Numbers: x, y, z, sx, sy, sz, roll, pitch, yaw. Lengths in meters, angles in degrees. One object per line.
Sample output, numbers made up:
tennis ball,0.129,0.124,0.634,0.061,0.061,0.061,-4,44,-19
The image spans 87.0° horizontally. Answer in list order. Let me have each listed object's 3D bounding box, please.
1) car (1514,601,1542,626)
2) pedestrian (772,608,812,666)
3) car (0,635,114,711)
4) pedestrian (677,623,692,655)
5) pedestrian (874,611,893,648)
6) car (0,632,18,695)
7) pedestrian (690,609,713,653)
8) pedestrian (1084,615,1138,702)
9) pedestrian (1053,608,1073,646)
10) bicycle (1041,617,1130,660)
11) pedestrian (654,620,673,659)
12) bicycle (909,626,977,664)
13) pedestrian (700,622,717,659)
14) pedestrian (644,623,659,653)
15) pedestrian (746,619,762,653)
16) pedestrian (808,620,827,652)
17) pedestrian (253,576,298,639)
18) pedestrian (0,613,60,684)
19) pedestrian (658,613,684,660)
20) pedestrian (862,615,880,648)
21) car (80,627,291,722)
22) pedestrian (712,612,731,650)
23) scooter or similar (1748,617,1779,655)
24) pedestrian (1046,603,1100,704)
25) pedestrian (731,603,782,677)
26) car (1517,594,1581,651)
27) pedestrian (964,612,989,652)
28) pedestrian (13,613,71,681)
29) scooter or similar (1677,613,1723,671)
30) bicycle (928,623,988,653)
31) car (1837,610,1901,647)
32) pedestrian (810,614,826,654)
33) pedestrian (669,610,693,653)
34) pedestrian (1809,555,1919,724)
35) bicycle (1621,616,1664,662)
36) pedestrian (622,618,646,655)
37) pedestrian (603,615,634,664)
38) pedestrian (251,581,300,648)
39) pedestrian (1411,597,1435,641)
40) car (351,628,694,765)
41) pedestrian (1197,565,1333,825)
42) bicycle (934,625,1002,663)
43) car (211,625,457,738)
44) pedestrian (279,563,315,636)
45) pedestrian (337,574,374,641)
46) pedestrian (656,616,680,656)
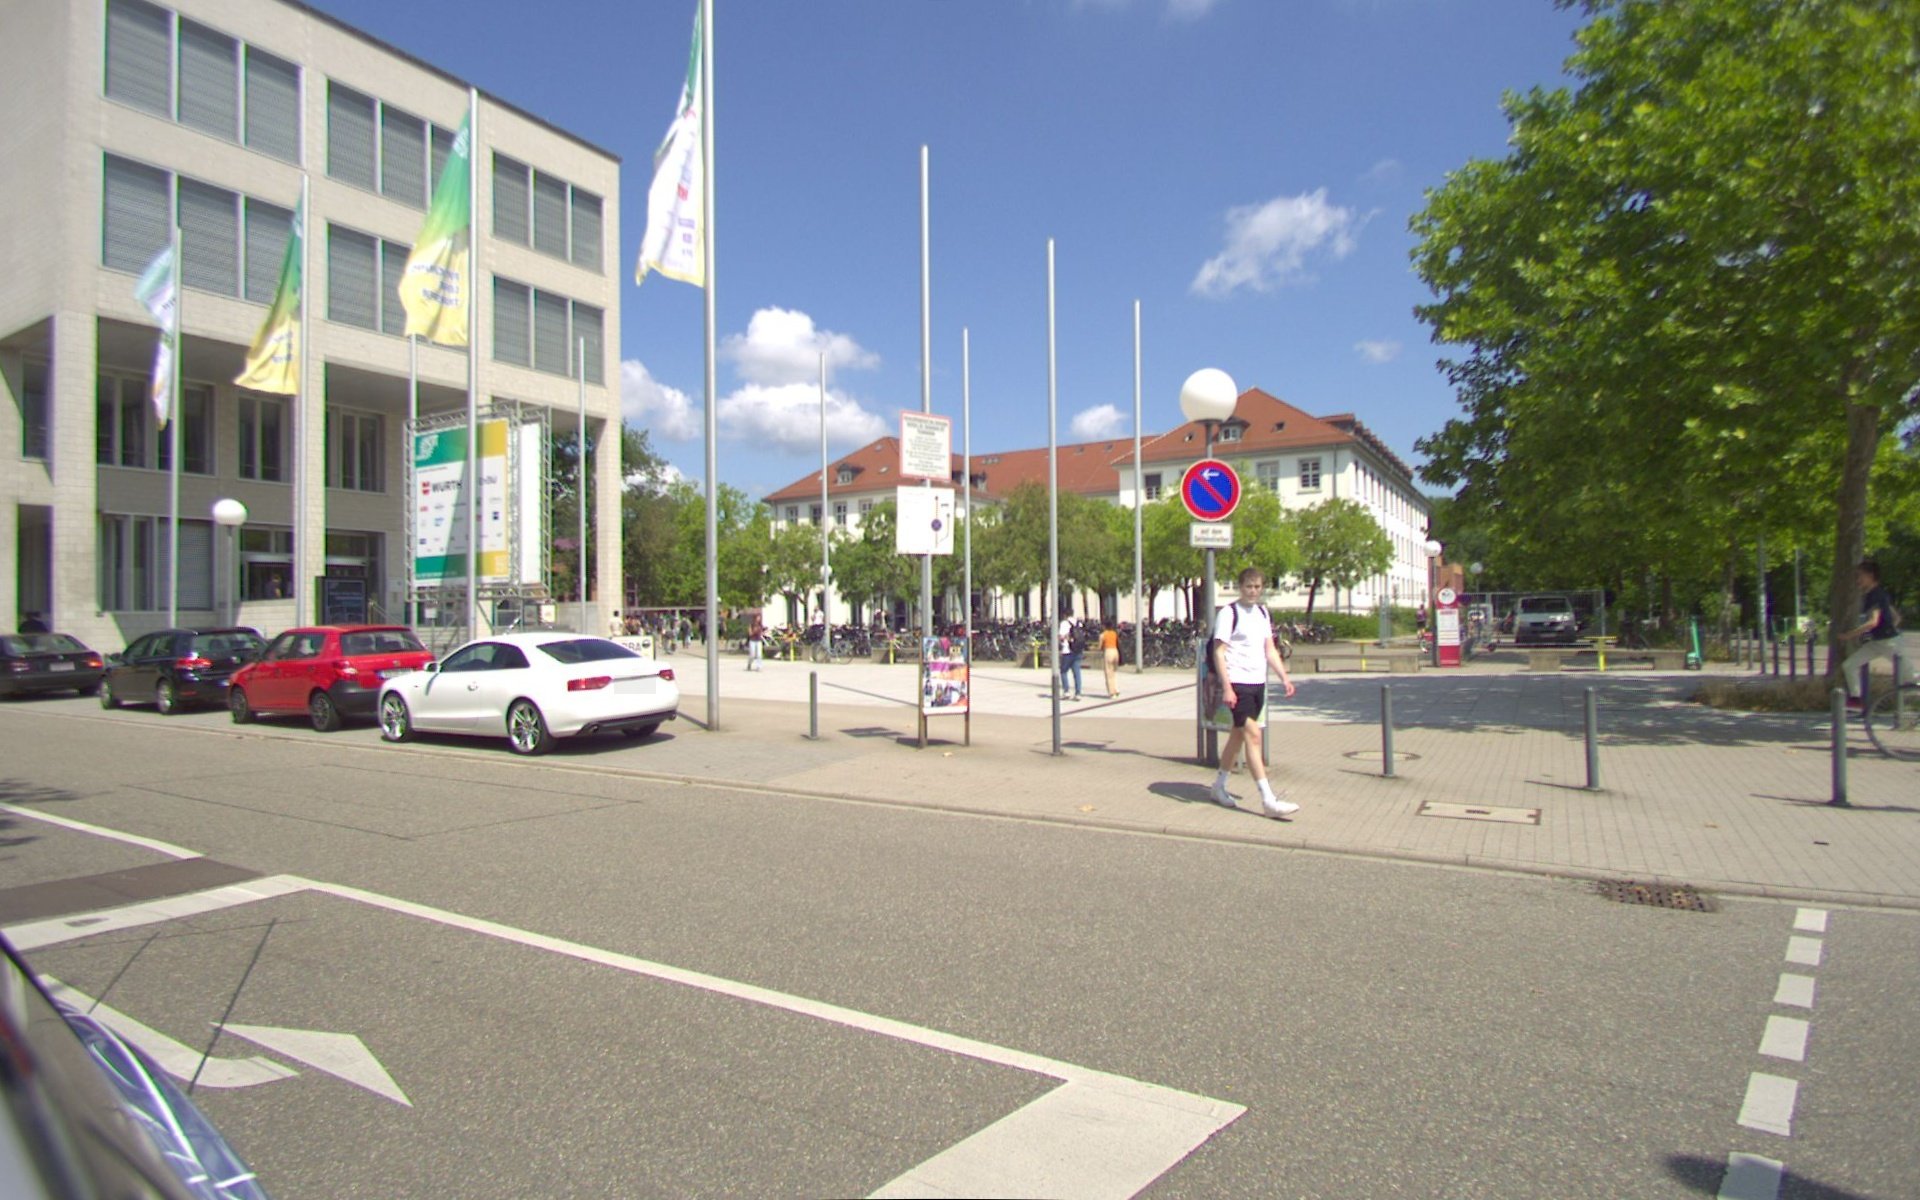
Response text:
car,45.989,1.099,81.959,1.858,1.954,4.357,-2,-2,29
pedestrian,-5.771,1.254,34.829,0.940,1.955,0.979,-2,-2,28
car,-20.365,1.514,21.825,5.001,1.388,1.845,-2,0,33
pedestrian,-16.732,2.375,61.378,0.699,1.899,0.737,-1,-1,-2
pedestrian,-4.688,1.823,62.323,0.953,2.217,0.968,-1,-2,8
car,-24.715,1.572,24.651,3.693,1.478,1.627,-2,0,31
pedestrian,-12.277,1.472,48.035,0.735,2.029,0.752,-2,-1,36
pedestrian,2.962,1.130,19.836,0.744,1.664,0.836,-2,-2,33
pedestrian,5.581,1.460,55.061,0.812,2.029,0.702,-2,-2,38
bicycle,4.348,1.324,35.289,2.948,1.422,1.051,-2,-1,40
pedestrian,-15.285,2.033,52.111,0.875,2.000,0.842,-1,-1,-19
bicycle,-0.688,1.747,39.677,1.129,1.422,2.957,0,-1,-37
pedestrian,-14.217,2.276,57.156,0.750,2.029,0.737,-1,-1,-2
pedestrian,-20.344,2.509,66.714,0.805,1.948,0.738,-1,-1,-6
pedestrian,-13.124,2.290,64.620,0.877,2.159,0.737,-1,-1,-2
pedestrian,-9.036,2.277,64.112,0.737,2.029,0.877,-2,-1,44
pedestrian,-22.525,0.252,33.314,0.970,2.029,0.743,-1,-1,10
pedestrian,-27.312,1.415,29.700,1.159,2.029,0.978,-2,-2,27
pedestrian,-11.222,1.413,39.327,0.751,1.770,0.736,-1,-2,8
pedestrian,-5.558,1.962,63.187,0.720,2.029,0.913,-2,-2,37
car,-14.186,1.299,18.486,4.183,1.478,1.734,-2,0,33
pedestrian,-11.533,1.490,48.916,0.750,1.851,0.701,-1,-1,-4
scooter or similar,33.992,1.519,42.836,0.730,1.550,2.623,-2,-2,33
pedestrian,2.160,1.004,19.343,0.767,1.873,0.714,-2,-2,33
pedestrian,-5.770,1.130,28.736,0.983,2.029,1.049,-2,-2,28
car,21.739,0.843,37.467,1.858,1.954,4.729,-2,-2,29
pedestrian,0.927,1.833,57.419,1.037,2.217,1.014,-2,-2,30
pedestrian,-28.340,1.443,31.249,1.159,2.029,0.978,-2,-2,27
scooter or similar,16.108,0.897,22.065,0.491,1.205,1.719,-2,-2,26
bicycle,-0.133,1.878,50.465,2.948,1.422,1.133,-2,-1,39
car,38.560,1.218,43.014,1.638,1.497,3.950,-2,-2,37
pedestrian,-7.353,1.771,52.434,0.750,2.029,0.737,-1,-1,-2
pedestrian,-13.213,1.486,47.916,0.735,2.029,0.752,-2,-1,36
pedestrian,10.678,0.449,11.566,1.398,1.869,0.695,-4,-3,41
bicycle,17.872,0.996,26.552,0.662,1.122,2.591,-1,-1,29
pedestrian,-14.797,1.652,45.970,0.735,1.626,0.724,-2,-1,34
pedestrian,-12.413,1.433,36.770,0.754,1.770,0.733,-2,-2,22
pedestrian,-20.981,0.450,31.019,0.907,2.029,0.971,-2,-1,31
pedestrian,23.462,0.976,51.282,1.035,2.217,1.149,-2,-2,25
car,-5.671,1.127,12.913,4.646,1.406,1.664,-2,0,32
pedestrian,2.326,0.685,7.848,0.712,1.865,1.088,-2,0,3
bicycle,0.301,1.740,40.423,1.129,1.422,2.957,0,-1,-37
car,-9.699,1.189,15.619,3.897,1.478,1.664,-2,0,32
pedestrian,-22.519,0.002,34.396,0.729,2.440,0.759,-1,-2,5
pedestrian,-20.034,0.253,33.541,0.796,2.161,0.703,-1,-1,10
pedestrian,-13.372,1.645,46.417,0.735,1.787,0.752,-2,-2,31
